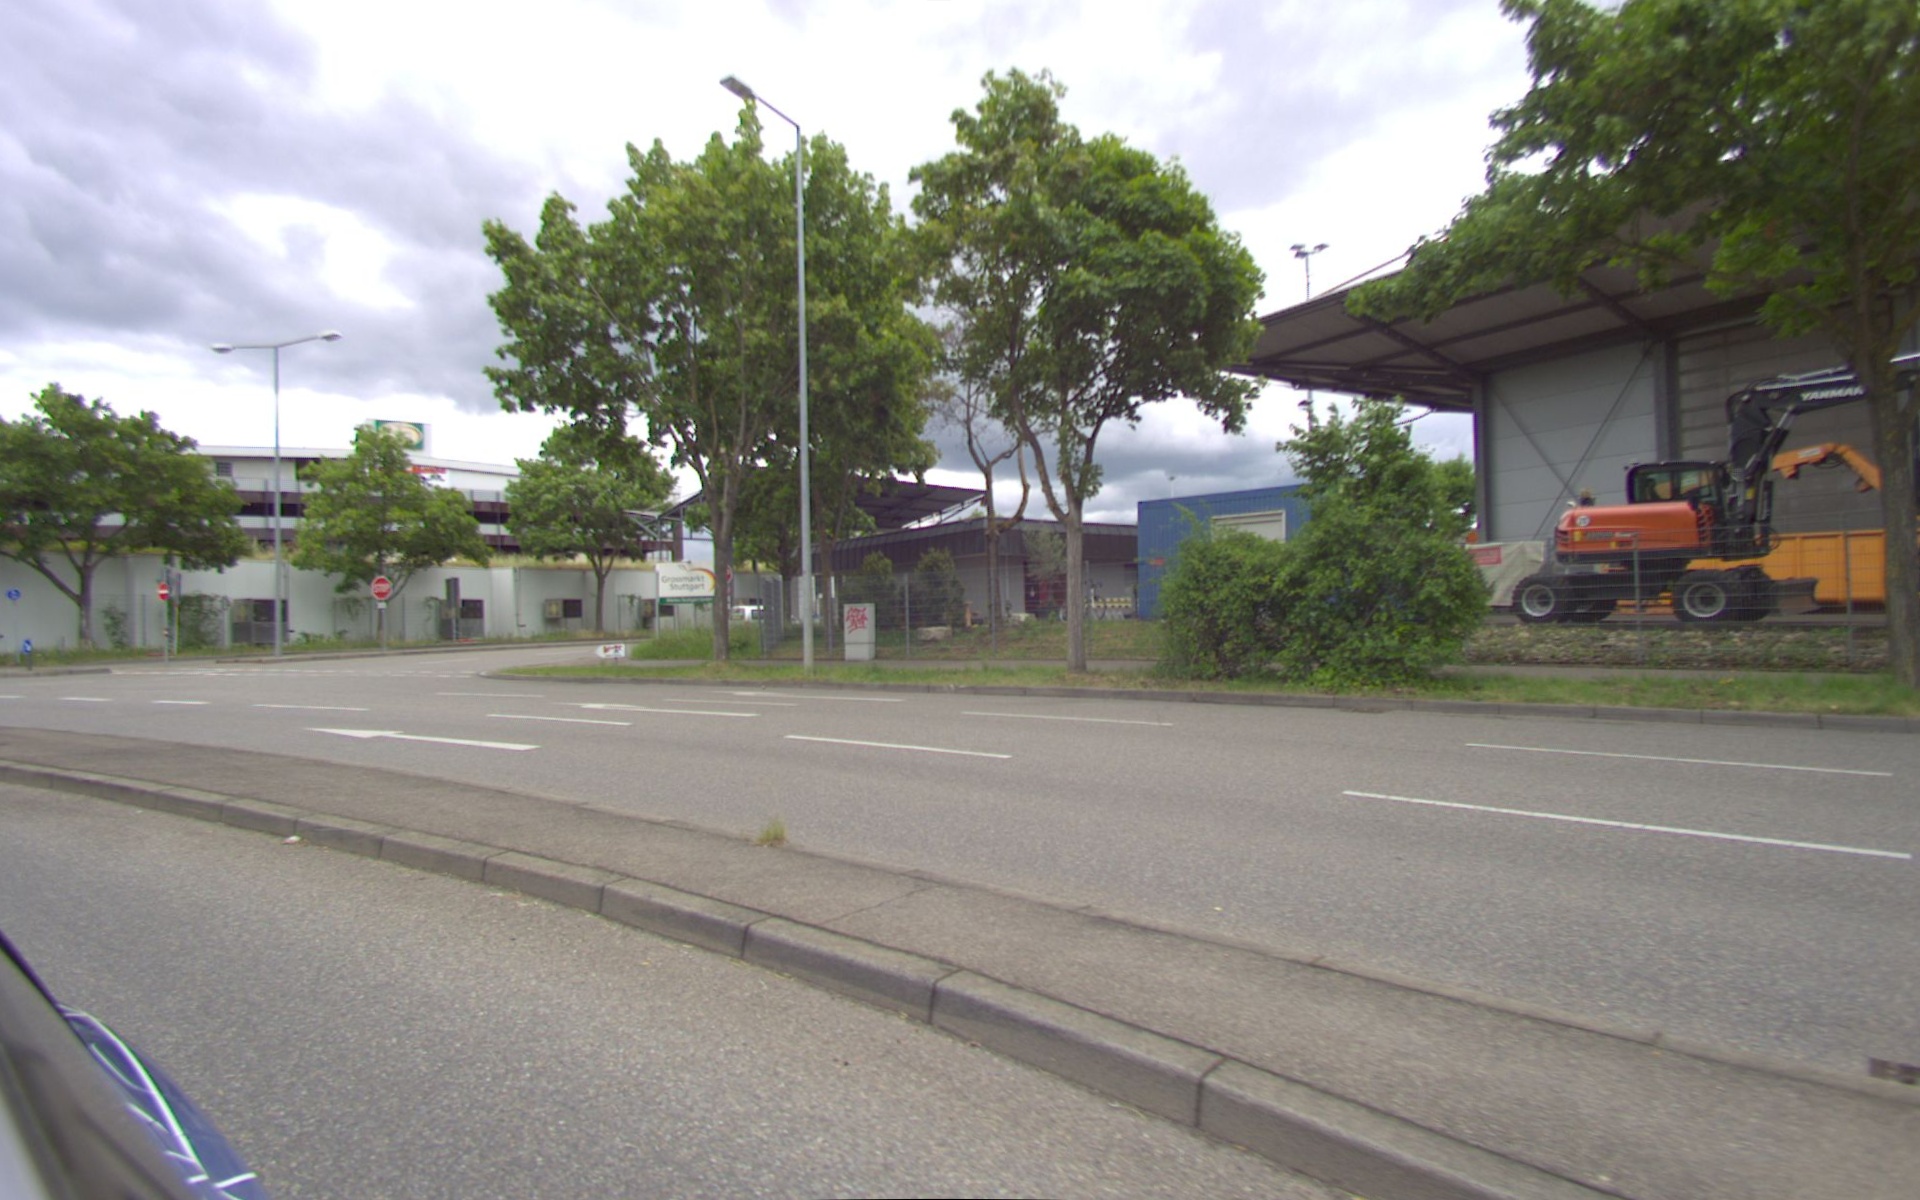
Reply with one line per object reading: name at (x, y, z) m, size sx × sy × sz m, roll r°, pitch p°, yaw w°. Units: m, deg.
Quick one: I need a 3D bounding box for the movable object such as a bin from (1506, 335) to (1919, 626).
movable object such as a bin at (13.499, -1.707, 17.423) m, size 2.691 × 4.122 × 6.562 m, roll 0°, pitch -3°, yaw -41°

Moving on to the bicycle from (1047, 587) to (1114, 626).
bicycle at (3.219, 0.186, 27.162) m, size 0.653 × 0.982 × 1.763 m, roll 0°, pitch -3°, yaw -41°

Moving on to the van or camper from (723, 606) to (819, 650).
van or camper at (-9.270, 1.335, 49.783) m, size 4.207 × 1.978 × 1.962 m, roll -1°, pitch -1°, yaw -38°

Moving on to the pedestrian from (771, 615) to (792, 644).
pedestrian at (-9.643, 1.594, 54.727) m, size 0.768 × 1.571 × 0.806 m, roll -3°, pitch -3°, yaw 39°
